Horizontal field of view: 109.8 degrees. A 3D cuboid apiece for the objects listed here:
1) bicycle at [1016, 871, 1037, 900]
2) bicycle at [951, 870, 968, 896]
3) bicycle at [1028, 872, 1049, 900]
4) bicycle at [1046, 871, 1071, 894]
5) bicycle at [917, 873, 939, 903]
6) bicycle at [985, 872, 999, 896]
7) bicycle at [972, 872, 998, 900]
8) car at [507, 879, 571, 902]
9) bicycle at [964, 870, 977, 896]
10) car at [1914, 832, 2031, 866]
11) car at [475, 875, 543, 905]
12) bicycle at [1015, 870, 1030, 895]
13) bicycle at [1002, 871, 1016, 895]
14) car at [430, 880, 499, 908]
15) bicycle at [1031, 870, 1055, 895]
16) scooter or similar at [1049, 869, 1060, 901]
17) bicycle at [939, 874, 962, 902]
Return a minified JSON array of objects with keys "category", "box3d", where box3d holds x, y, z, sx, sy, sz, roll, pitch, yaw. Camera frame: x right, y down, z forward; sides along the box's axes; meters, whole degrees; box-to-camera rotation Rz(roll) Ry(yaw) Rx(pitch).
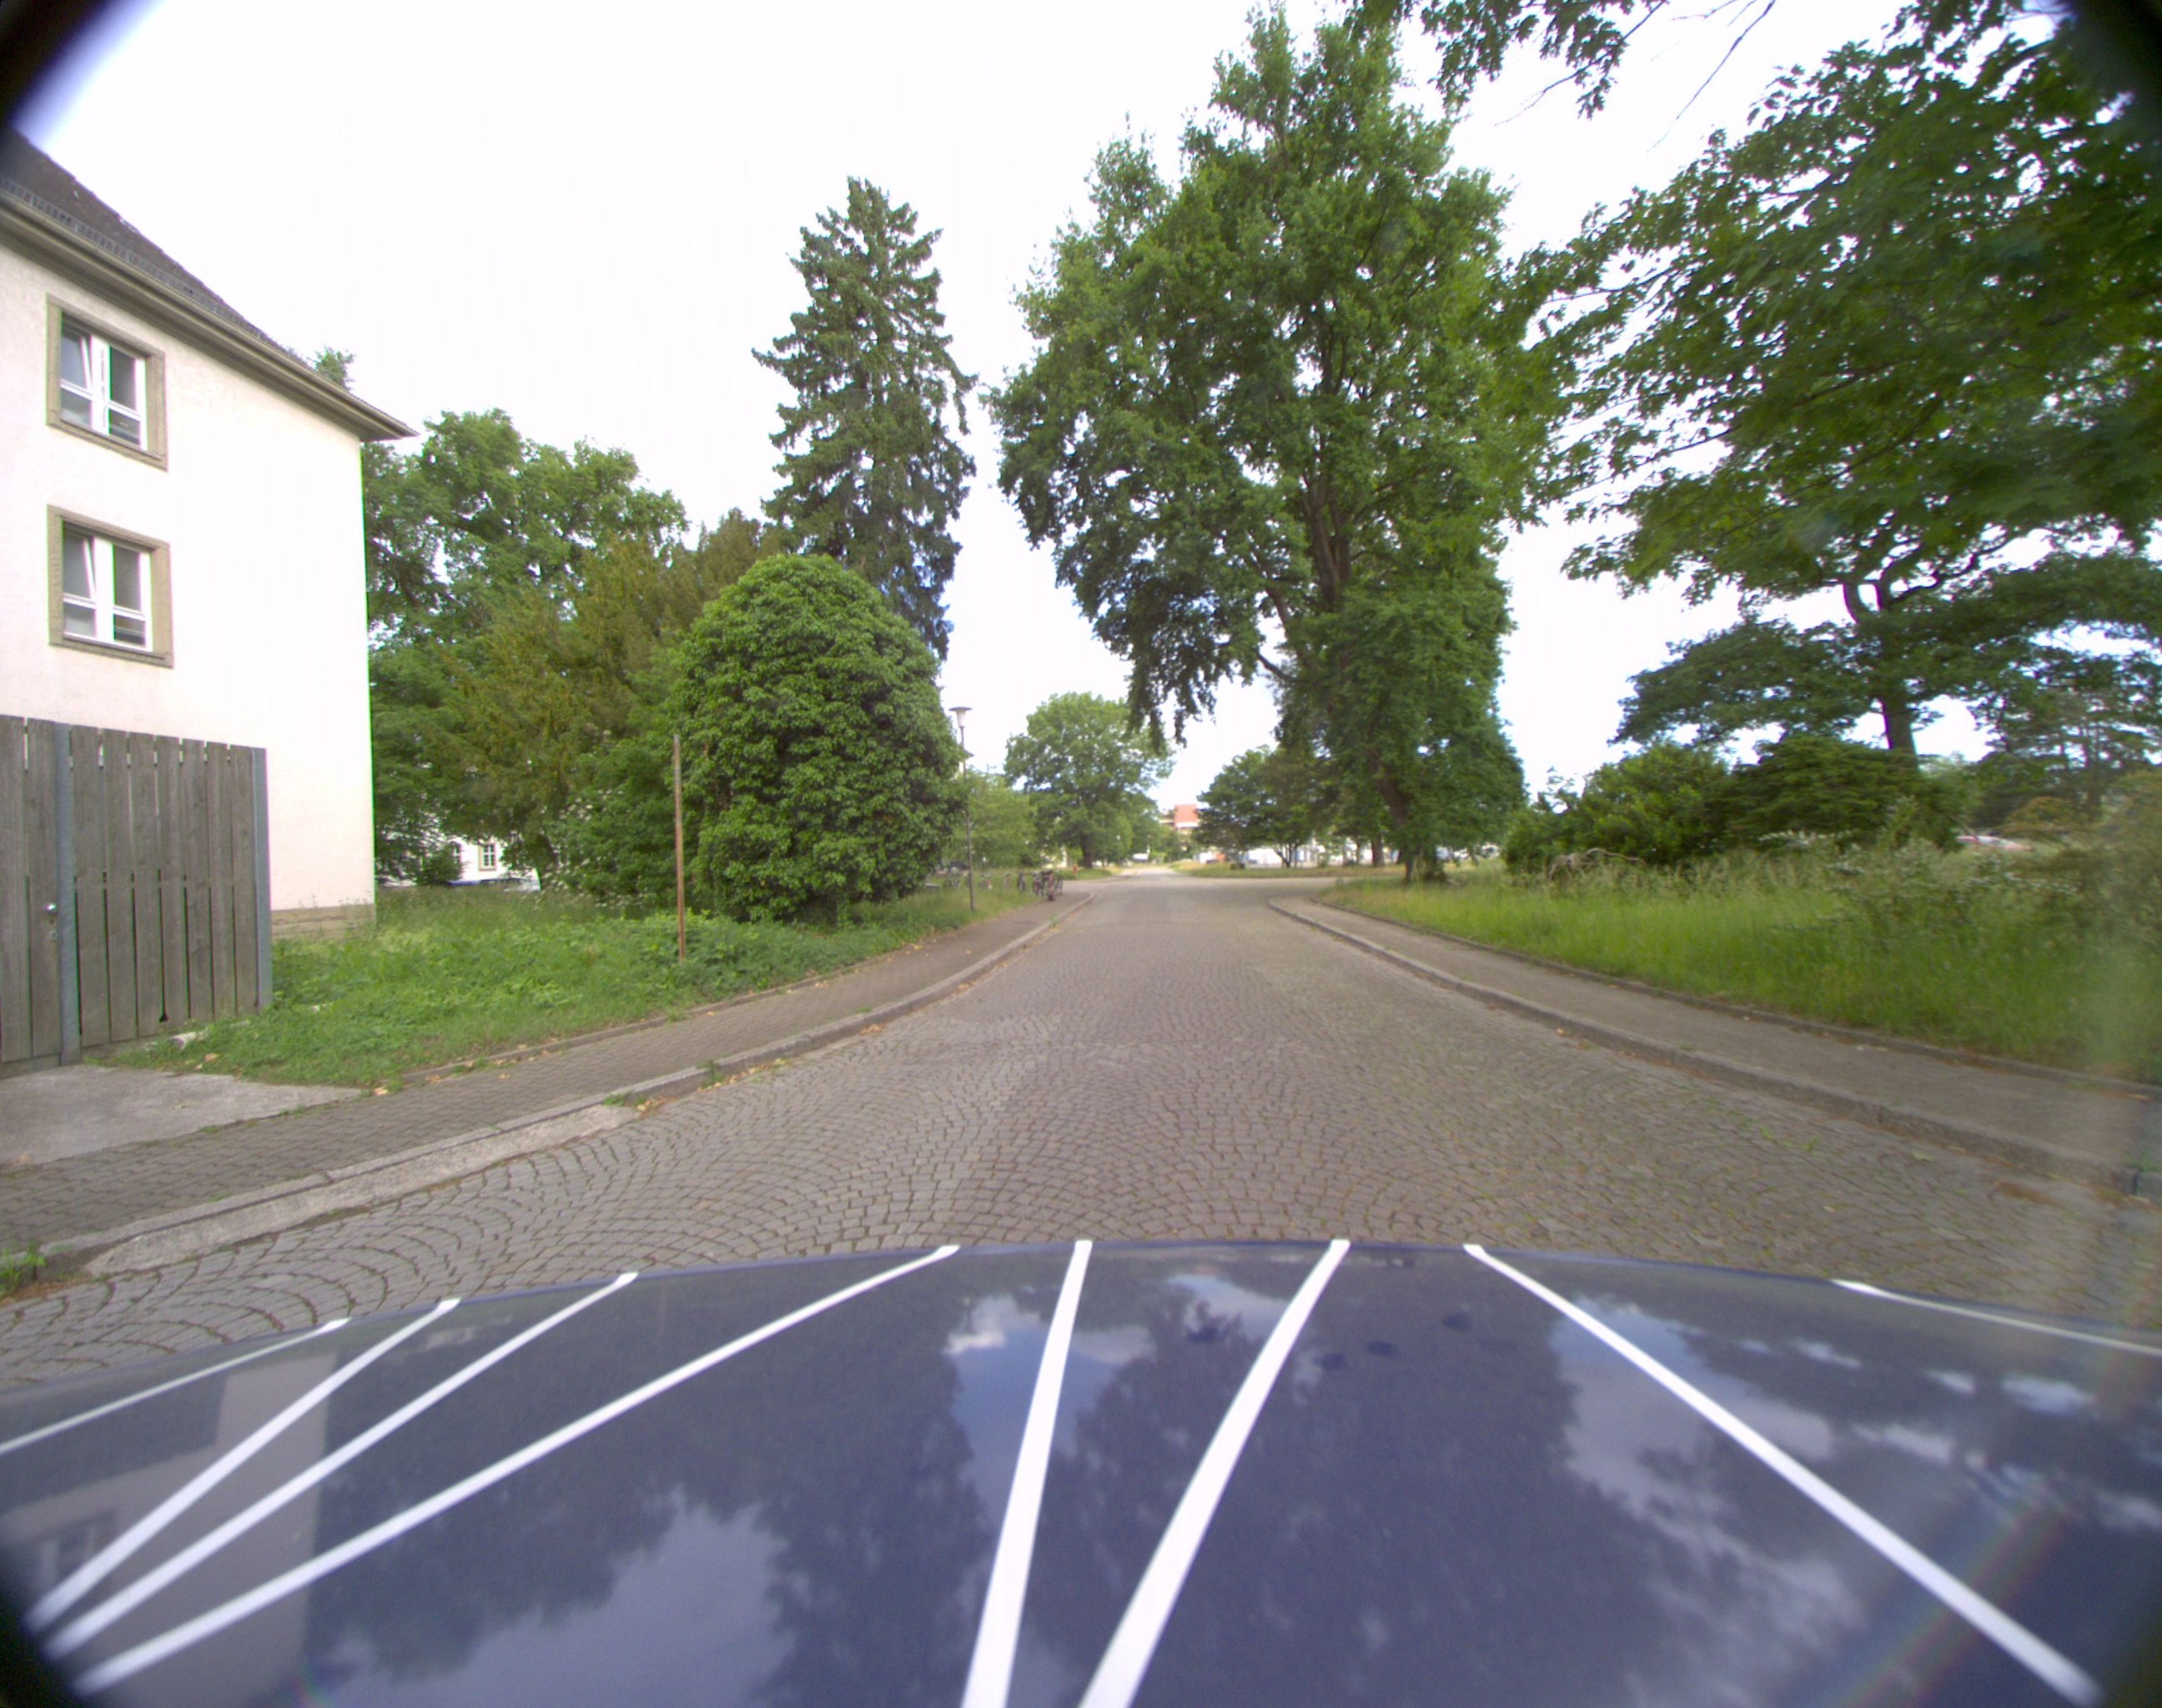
[{"category":"bicycle","box3d":[-2.229,1.279,31.052,0.551,1.108,1.803,-2,0,-12]},{"category":"bicycle","box3d":[-5.496,1.305,34.286,0.478,1.105,1.763,-2,0,-16]},{"category":"bicycle","box3d":[-1.759,1.297,31.215,0.551,1.108,1.768,-2,0,-12]},{"category":"bicycle","box3d":[-1.052,1.294,35.004,0.478,1.002,1.619,-3,2,-25]},{"category":"bicycle","box3d":[-6.267,1.374,31.173,0.551,1.164,1.754,-2,0,-3]},{"category":"bicycle","box3d":[-4.069,1.339,34.588,0.478,1.002,1.665,-2,1,-11]},{"category":"bicycle","box3d":[-3.913,1.290,30.813,0.619,1.059,1.823,-2,0,-20]},{"category":"car","box3d":[-32.723,2.170,45.967,1.295,1.210,3.250,-2,0,5]},{"category":"bicycle","box3d":[-4.968,1.283,34.195,0.478,1.105,1.764,-2,0,-11]},{"category":"car","box3d":[42.579,-0.196,36.414,1.600,1.473,3.502,-2,-2,4]},{"category":"car","box3d":[-34.950,2.195,46.512,1.438,1.651,3.250,-2,0,5]},{"category":"bicycle","box3d":[-2.673,1.287,34.654,0.478,1.002,1.665,-2,1,-11]},{"category":"bicycle","box3d":[-3.293,1.310,34.601,0.478,1.002,1.665,-2,1,-11]},{"category":"car","box3d":[-38.148,2.441,47.079,1.383,1.555,3.250,-2,0,5]},{"category":"bicycle","box3d":[-1.755,1.299,35.095,0.478,1.068,1.619,-3,2,-25]},{"category":"scooter or similar","box3d":[-1.041,1.225,29.910,0.357,1.202,1.137,-2,0,1]},{"category":"bicycle","box3d":[-5.247,1.335,30.449,0.552,1.059,1.751,-2,0,-20]}]
